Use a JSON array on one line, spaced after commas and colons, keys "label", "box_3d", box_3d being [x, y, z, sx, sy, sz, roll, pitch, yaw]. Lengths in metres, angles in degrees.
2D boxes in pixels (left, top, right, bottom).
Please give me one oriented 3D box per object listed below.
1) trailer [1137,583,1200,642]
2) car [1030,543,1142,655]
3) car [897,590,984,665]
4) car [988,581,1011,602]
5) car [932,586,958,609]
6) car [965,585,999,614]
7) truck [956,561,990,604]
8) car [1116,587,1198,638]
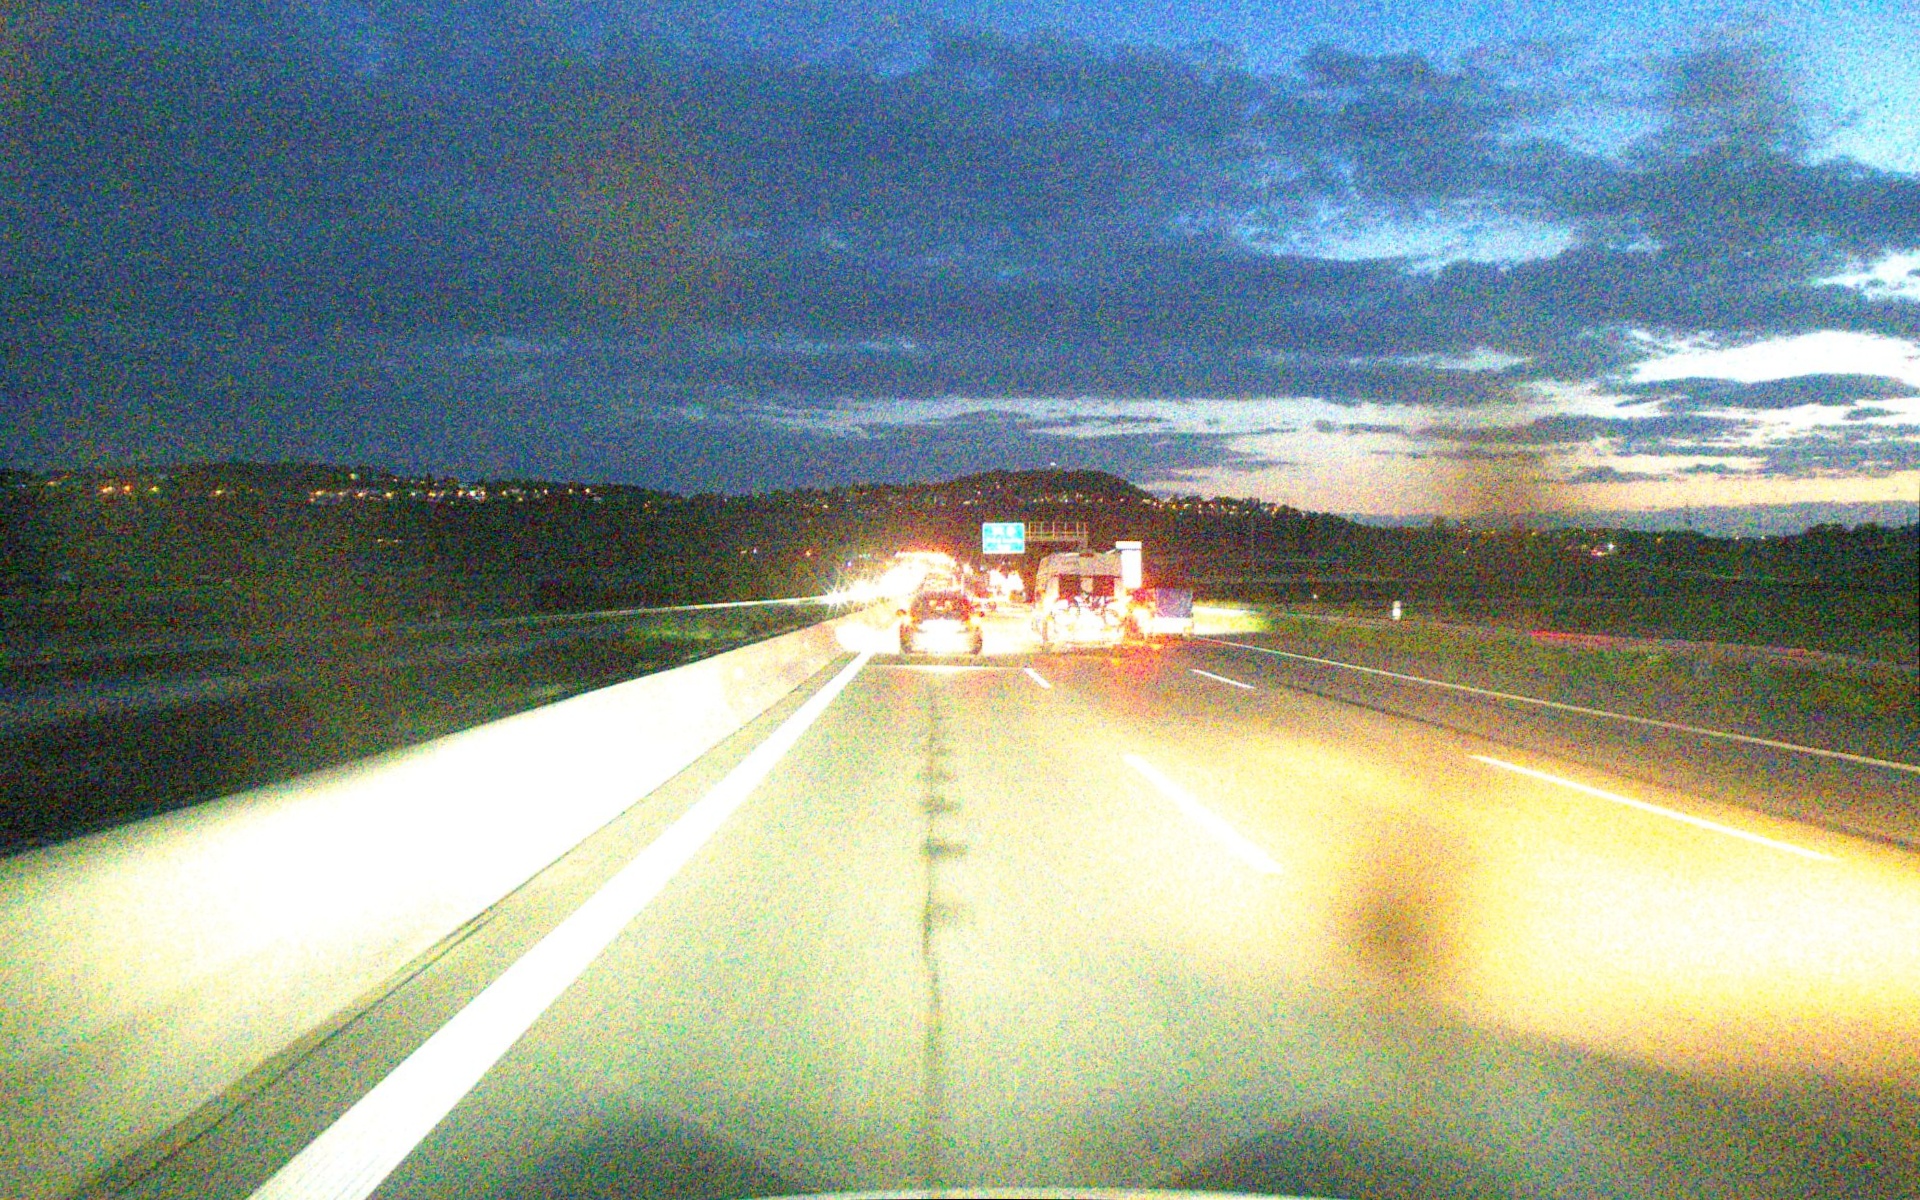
[{"label": "trailer", "box_3d": [6.376, 0.362, 50.738, 1.534, 1.723, 2.820, -1, 0, -1]}, {"label": "car", "box_3d": [3.081, -0.073, 41.690, 2.303, 2.579, 5.700, -1, 1, -1]}, {"label": "car", "box_3d": [-0.419, 0.546, 35.389, 1.757, 1.494, 3.772, 0, 1, -1]}, {"label": "car", "box_3d": [4.326, -0.938, 179.925, 2.303, 2.112, 4.722, -1, 1, -1]}, {"label": "car", "box_3d": [-1.016, -0.164, 112.488, 1.709, 1.465, 4.367, -1, 1, -1]}, {"label": "car", "box_3d": [1.556, -0.047, 118.552, 2.303, 1.947, 4.722, -1, 0, -1]}, {"label": "truck", "box_3d": [1.197, -1.639, 156.938, 2.725, 4.024, 7.989, -1, 0, -2]}, {"label": "car", "box_3d": [6.415, 0.386, 54.353, 2.119, 1.591, 4.722, 0, 0, -1]}]
